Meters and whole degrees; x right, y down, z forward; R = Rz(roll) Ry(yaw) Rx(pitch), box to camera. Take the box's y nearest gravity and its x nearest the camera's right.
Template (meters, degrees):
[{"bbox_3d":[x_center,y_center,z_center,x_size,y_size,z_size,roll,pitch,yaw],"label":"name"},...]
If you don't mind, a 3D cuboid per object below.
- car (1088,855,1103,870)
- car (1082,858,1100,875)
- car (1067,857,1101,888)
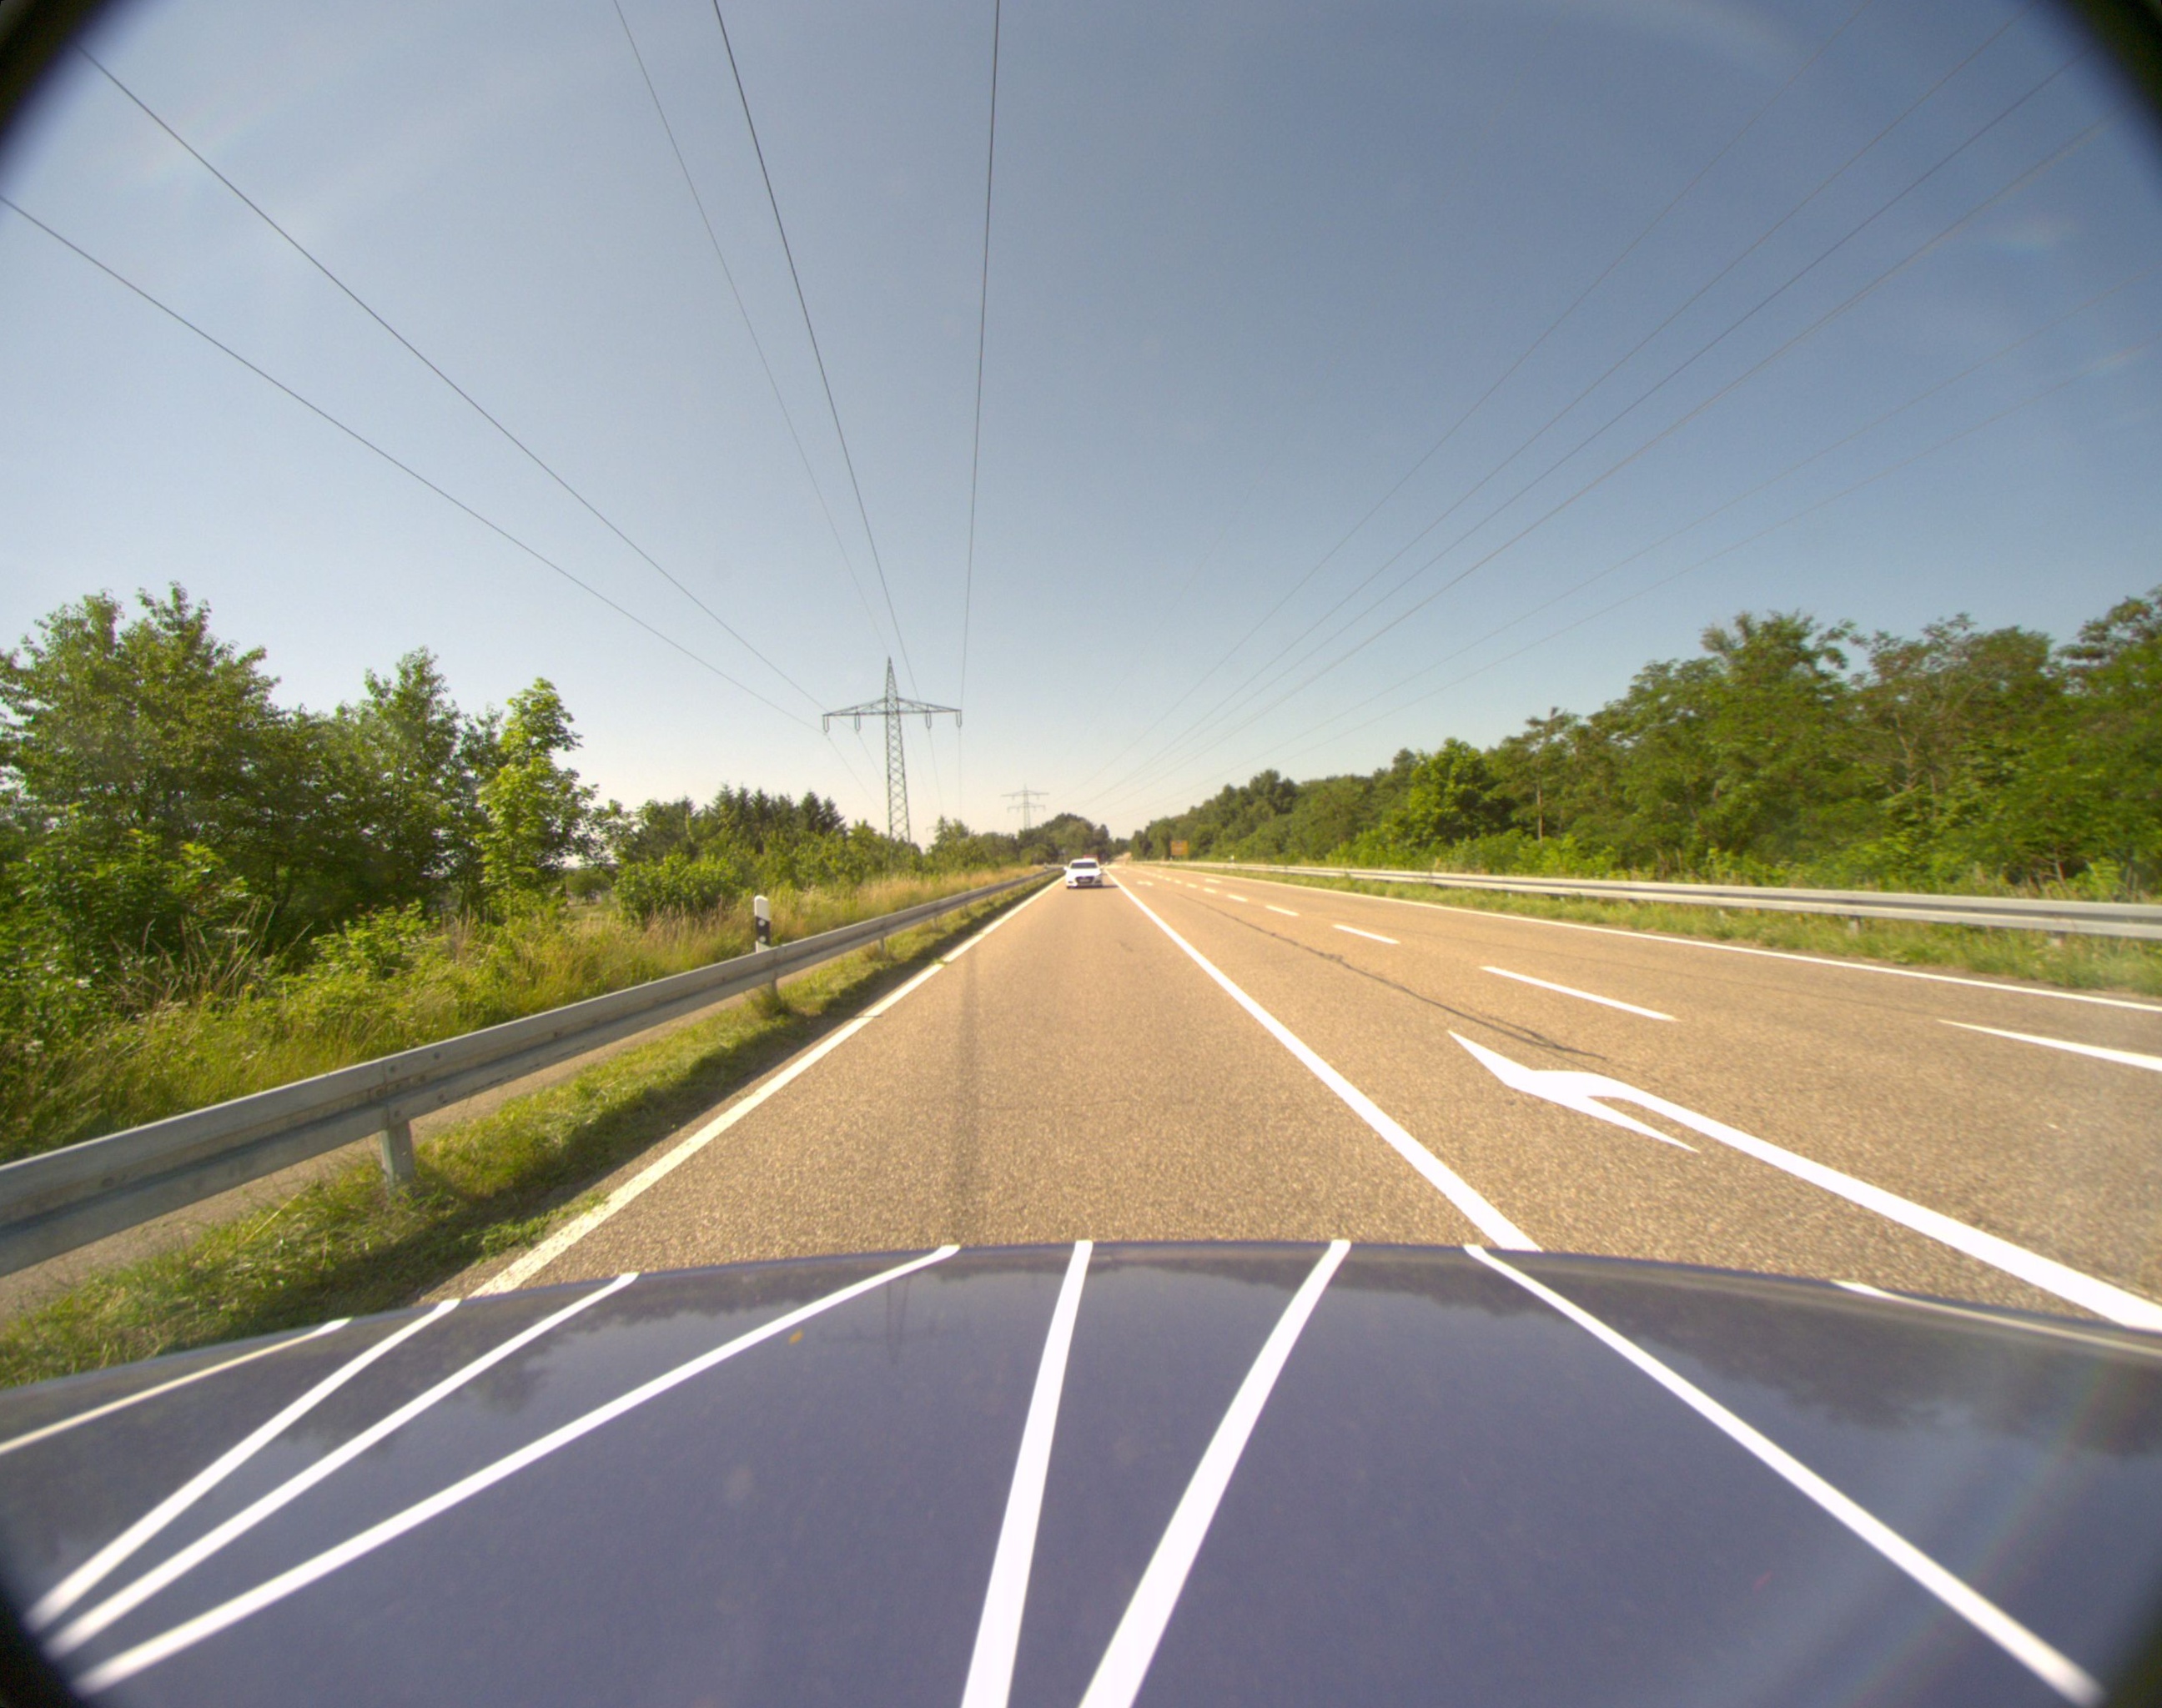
[{"bbox_3d":[1.913,1.070,101.468,1.795,1.892,4.838,-2,0,0],"label":"car"},{"bbox_3d":[0.926,1.163,70.386,1.549,1.460,3.661,-2,0,-1],"label":"car"},{"bbox_3d":[0.161,0.928,40.006,1.683,1.471,4.473,-1,0,0],"label":"car"}]
